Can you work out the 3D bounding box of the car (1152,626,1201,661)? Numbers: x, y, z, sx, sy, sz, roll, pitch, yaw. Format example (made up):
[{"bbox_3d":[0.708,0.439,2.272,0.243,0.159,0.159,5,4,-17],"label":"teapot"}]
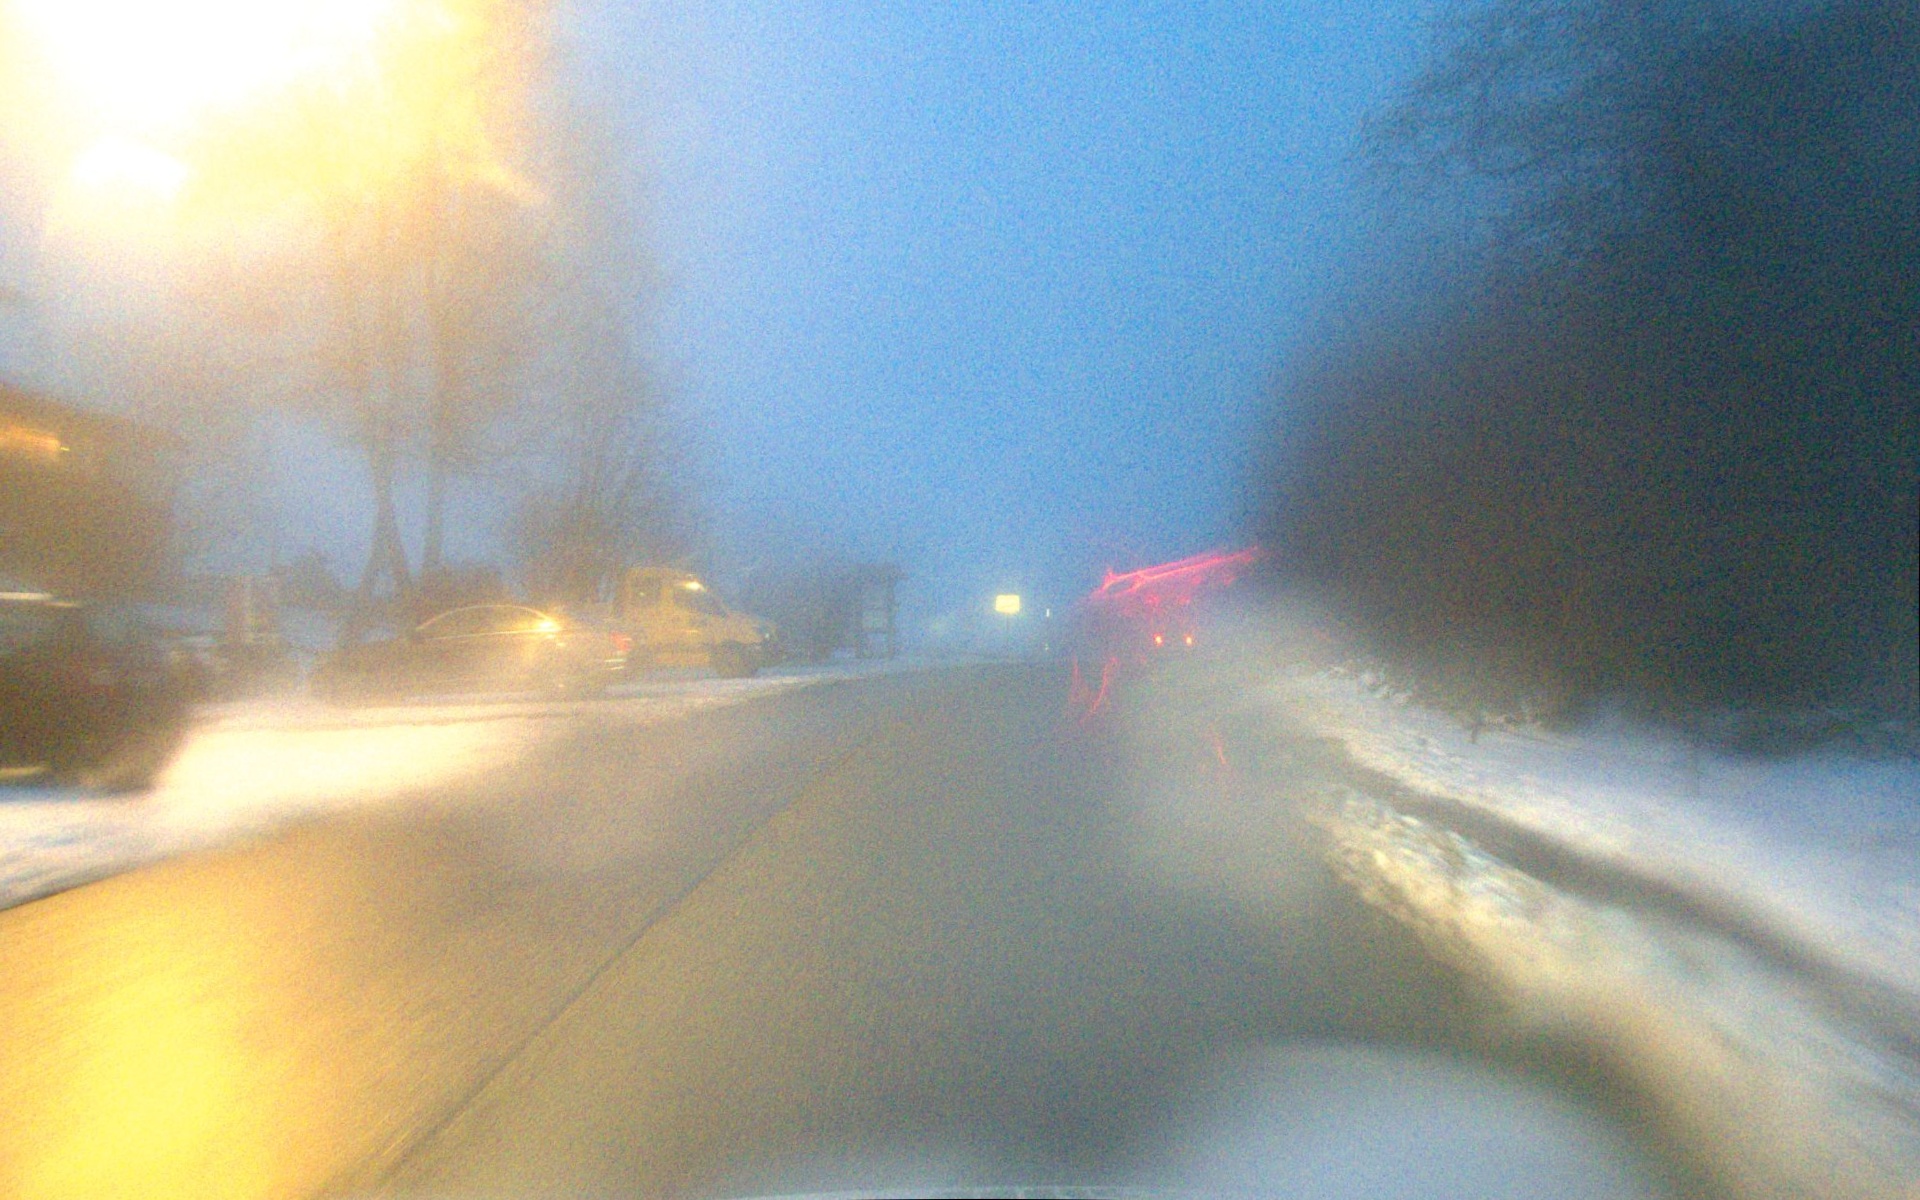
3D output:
[{"bbox_3d":[9.180,1.831,70.429,1.951,1.445,4.002,1,-1,6],"label":"car"}]

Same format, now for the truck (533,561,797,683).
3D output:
[{"bbox_3d":[-6.167,0.451,35.052,5.154,2.343,2.000,-2,0,-1],"label":"truck"}]

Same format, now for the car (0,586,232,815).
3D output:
[{"bbox_3d":[-7.569,0.718,11.912,3.778,1.497,1.937,-2,0,-4],"label":"car"}]

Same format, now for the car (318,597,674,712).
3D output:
[{"bbox_3d":[-6.970,0.794,25.256,4.787,1.511,2.123,-2,0,-1],"label":"car"}]
